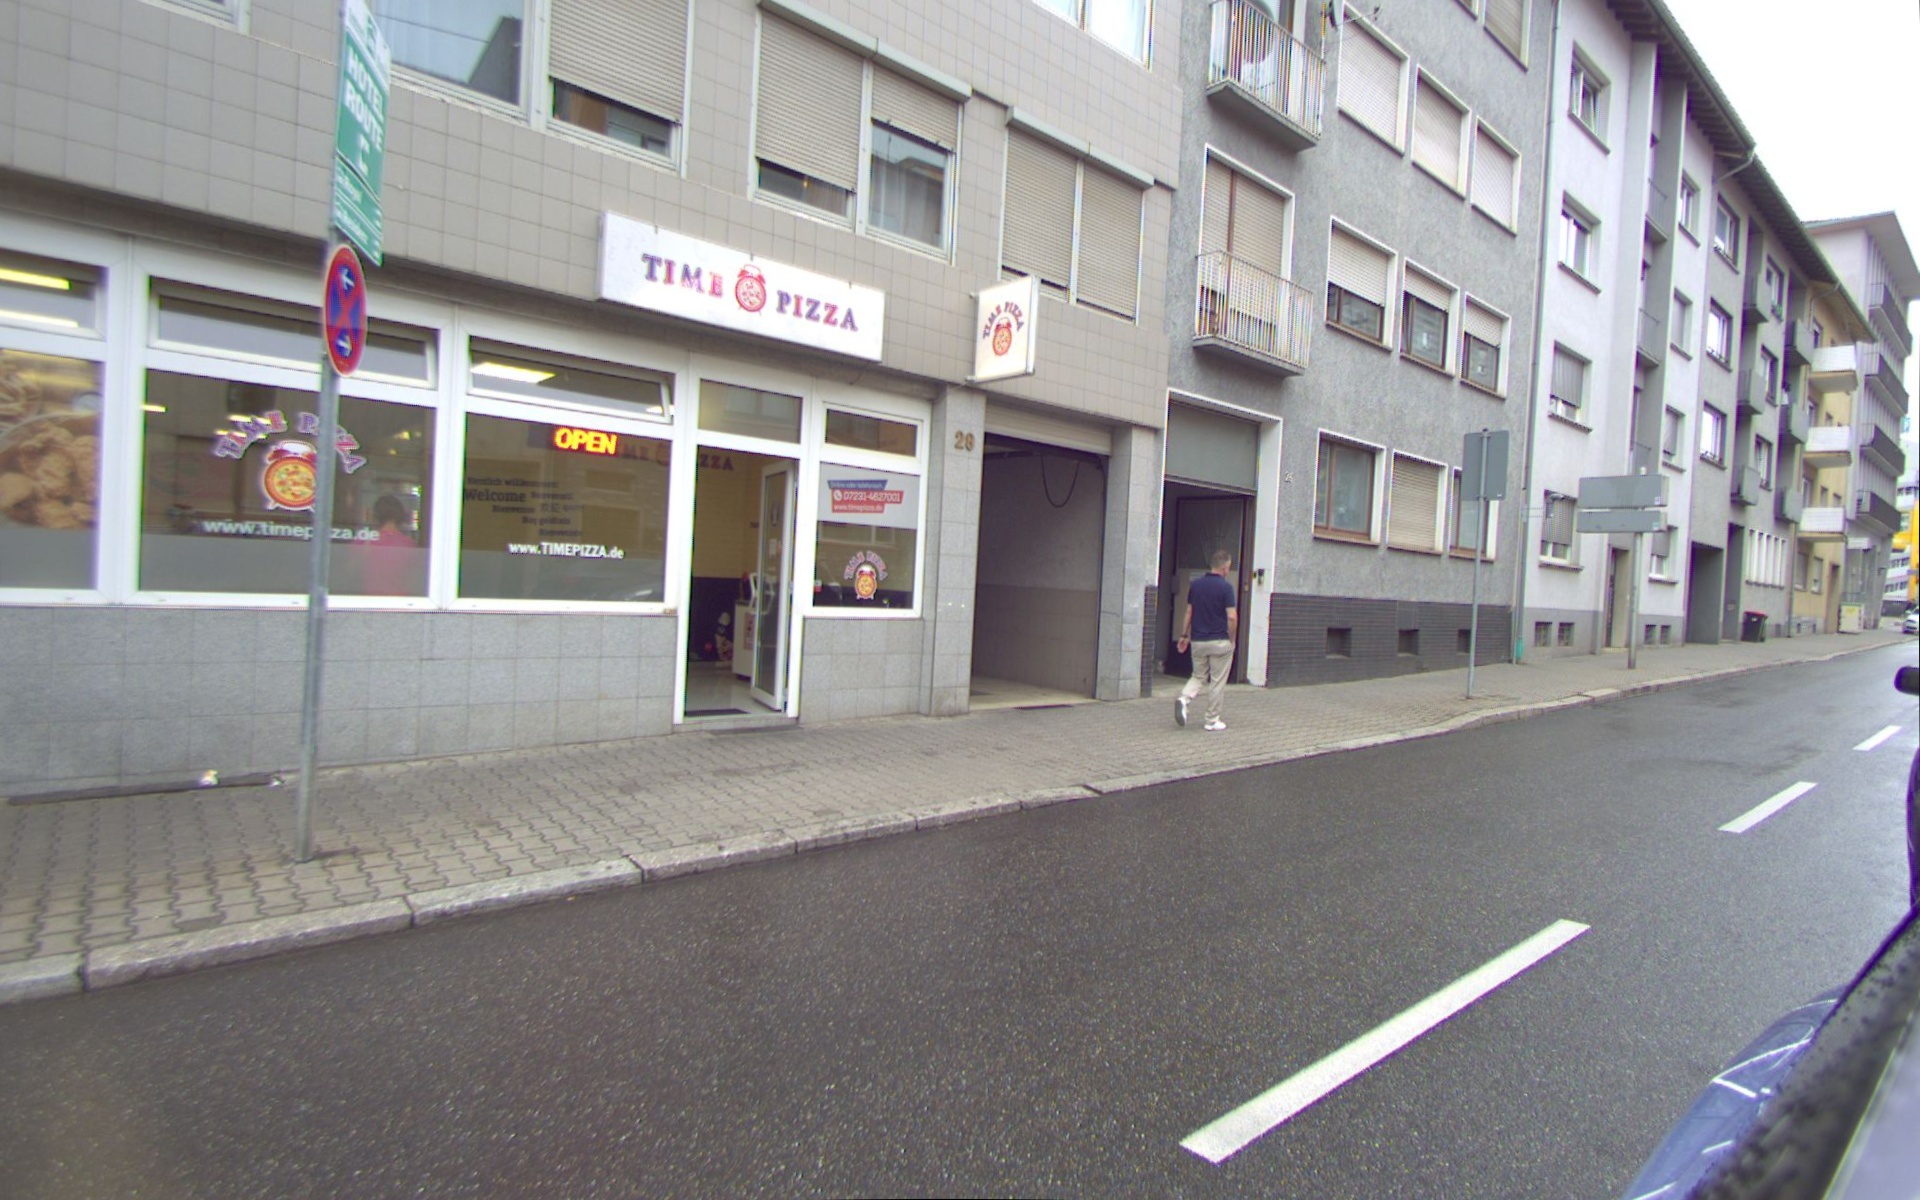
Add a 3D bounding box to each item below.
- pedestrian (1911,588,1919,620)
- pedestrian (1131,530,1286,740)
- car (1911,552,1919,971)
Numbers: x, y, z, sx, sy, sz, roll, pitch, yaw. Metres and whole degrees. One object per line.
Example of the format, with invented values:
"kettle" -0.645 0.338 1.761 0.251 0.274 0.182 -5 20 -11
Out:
"pedestrian" 53.811 0.250 56.410 1.117 1.772 0.946 4 3 44
"pedestrian" 2.447 0.300 9.977 1.100 1.887 0.871 0 6 -41
"car" 6.080 0.652 4.930 4.144 1.743 1.697 -1 0 -41
